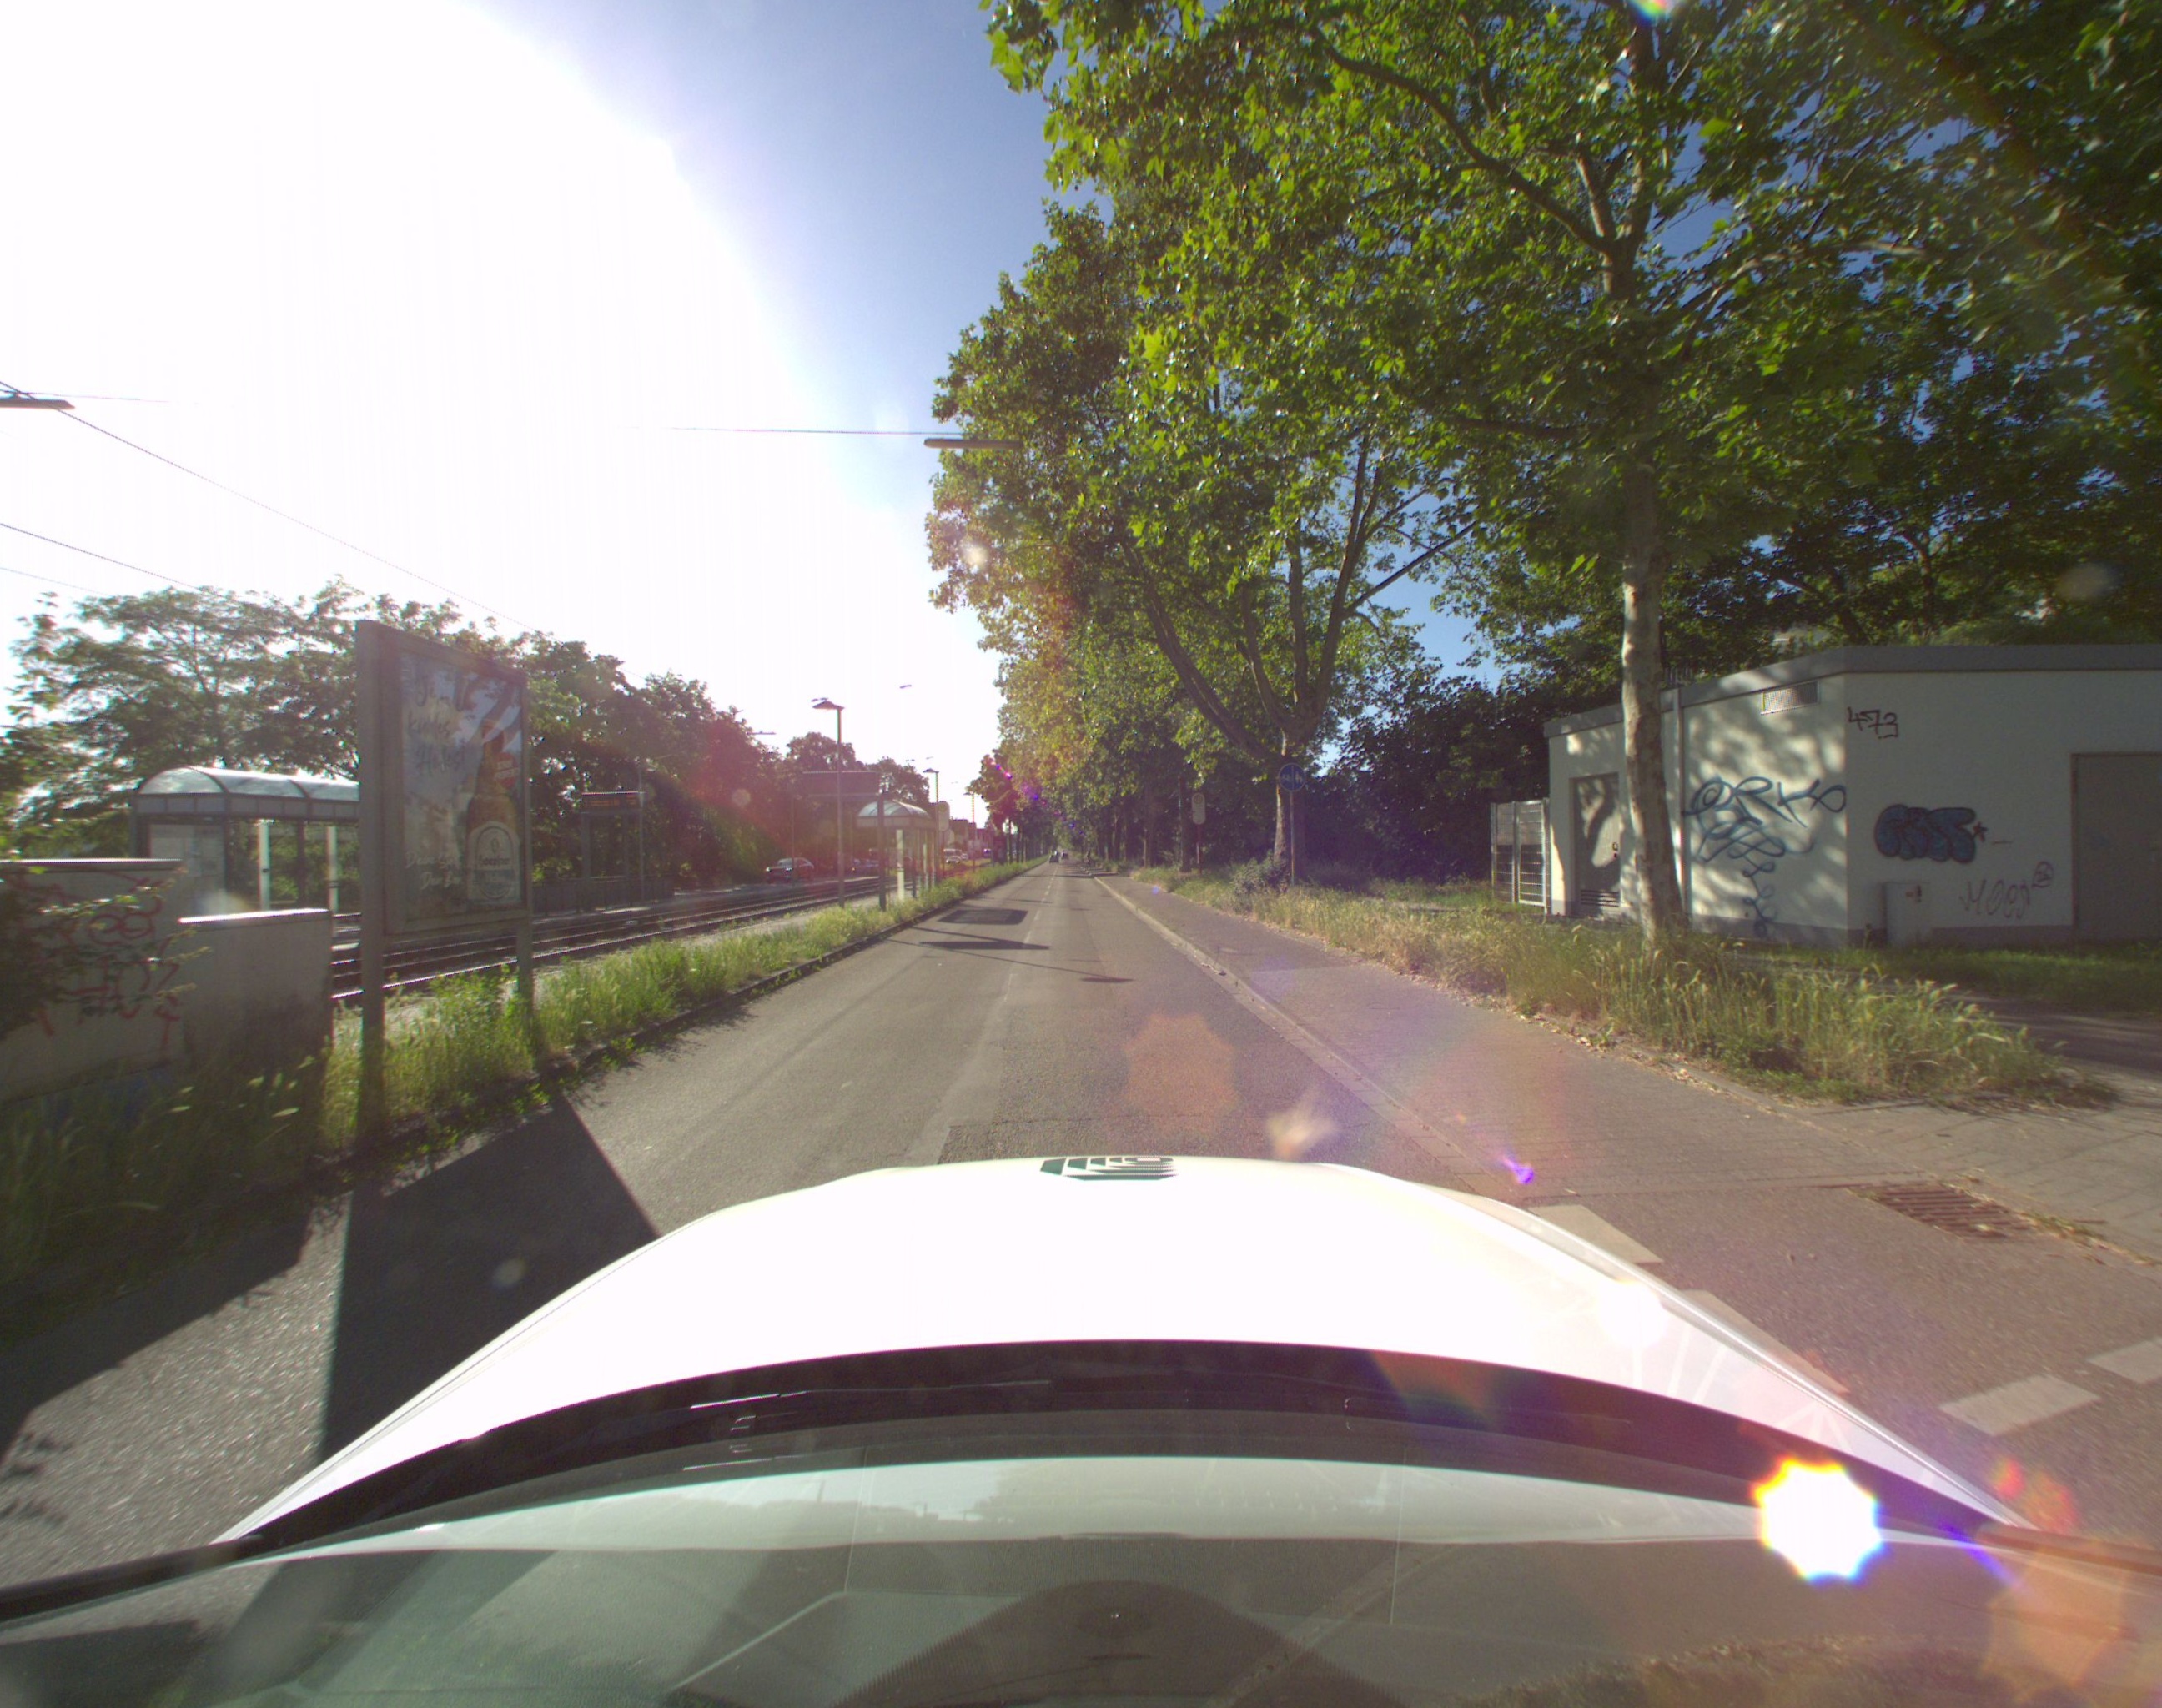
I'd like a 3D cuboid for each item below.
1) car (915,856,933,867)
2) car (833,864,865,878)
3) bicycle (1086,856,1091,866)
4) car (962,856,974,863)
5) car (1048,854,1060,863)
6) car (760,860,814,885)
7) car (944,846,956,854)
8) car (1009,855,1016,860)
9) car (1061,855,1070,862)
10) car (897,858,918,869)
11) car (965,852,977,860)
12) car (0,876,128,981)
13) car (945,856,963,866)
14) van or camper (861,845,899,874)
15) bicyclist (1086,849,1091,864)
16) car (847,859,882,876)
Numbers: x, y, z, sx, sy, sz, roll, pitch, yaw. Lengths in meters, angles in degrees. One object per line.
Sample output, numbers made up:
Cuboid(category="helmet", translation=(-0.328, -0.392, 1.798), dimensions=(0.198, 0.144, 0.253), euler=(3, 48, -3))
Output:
Cuboid(category="car", translation=(-24.012, 1.096, 124.637), dimensions=(1.914, 1.577, 4.000), euler=(-1, 0, 0))
Cuboid(category="car", translation=(-22.584, 1.614, 79.340), dimensions=(1.914, 1.266, 4.000), euler=(-1, 0, 0))
Cuboid(category="bicycle", translation=(0.854, 0.816, 93.336), dimensions=(0.535, 1.066, 1.432), euler=(-1, 0, -3))
Cuboid(category="car", translation=(-23.569, 1.216, 170.120), dimensions=(1.914, 1.438, 4.000), euler=(-1, 0, 0))
Cuboid(category="car", translation=(-4.477, 0.792, 134.626), dimensions=(1.862, 1.486, 3.554), euler=(0, 0, -1))
Cuboid(category="car", translation=(-18.967, 1.171, 52.730), dimensions=(1.989, 1.469, 4.372), euler=(-1, 0, -3))
Cuboid(category="car", translation=(-24.116, -0.749, 149.942), dimensions=(1.738, 1.496, 3.591), euler=(-1, 0, 0))
Cuboid(category="car", translation=(-21.468, 1.061, 254.922), dimensions=(1.916, 1.266, 3.997), euler=(-1, 0, -2))
Cuboid(category="car", translation=(-3.337, 0.946, 176.129), dimensions=(1.745, 1.604, 3.748), euler=(0, 0, -1))
Cuboid(category="car", translation=(-22.576, 1.230, 106.351), dimensions=(1.915, 1.266, 3.998), euler=(-1, 0, -1))
Cuboid(category="car", translation=(-24.708, 0.500, 183.437), dimensions=(1.986, 1.643, 4.001), euler=(-1, 0, 1))
Cuboid(category="car", translation=(-16.393, 1.104, 11.248), dimensions=(1.800, 1.466, 3.997), euler=(-1, 0, -2))
Cuboid(category="car", translation=(-18.586, 1.017, 119.542), dimensions=(1.914, 1.266, 4.000), euler=(-1, 0, 0))
Cuboid(category="van or camper", translation=(-22.675, 0.550, 92.160), dimensions=(2.582, 3.106, 6.784), euler=(-1, 0, -1))
Cuboid(category="bicyclist", translation=(0.837, 0.293, 93.447), dimensions=(0.533, 1.769, 0.712), euler=(-1, 0, -3))
Cuboid(category="car", translation=(-19.629, 1.209, 74.026), dimensions=(1.987, 1.469, 4.375), euler=(-1, 0, 0))
